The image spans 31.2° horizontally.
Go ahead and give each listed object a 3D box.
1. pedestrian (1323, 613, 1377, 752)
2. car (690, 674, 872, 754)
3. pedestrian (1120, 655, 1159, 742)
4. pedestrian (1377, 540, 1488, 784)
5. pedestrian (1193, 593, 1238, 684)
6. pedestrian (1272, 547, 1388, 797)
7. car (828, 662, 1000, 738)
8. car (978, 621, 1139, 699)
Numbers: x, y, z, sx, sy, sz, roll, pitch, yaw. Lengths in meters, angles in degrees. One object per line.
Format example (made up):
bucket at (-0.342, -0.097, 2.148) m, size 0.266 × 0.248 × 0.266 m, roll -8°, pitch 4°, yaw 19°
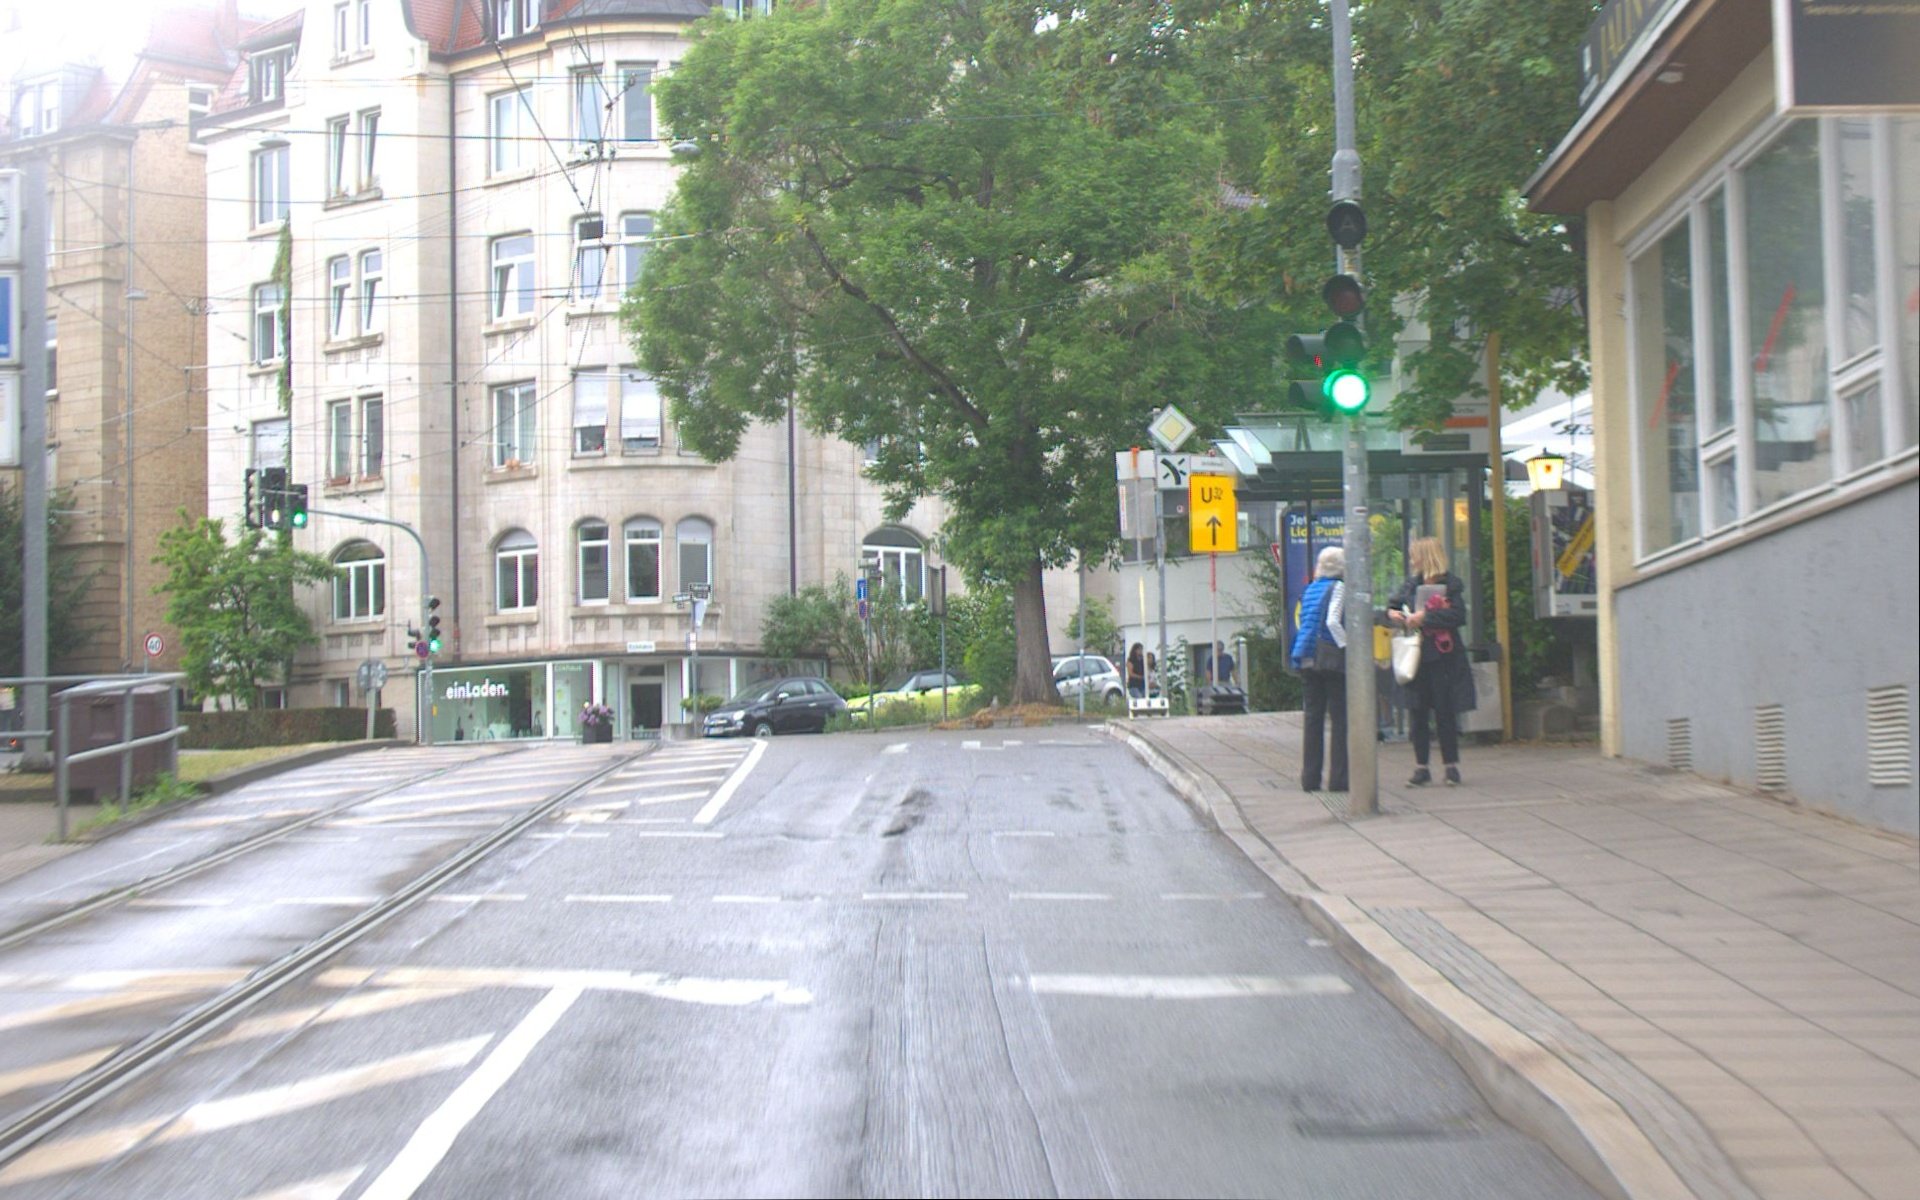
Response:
pedestrian at (3.292, 0.694, 29.029) m, size 0.325 × 1.146 × 0.318 m, roll -4°, pitch 1°, yaw -3°
car at (-3.935, 2.502, 75.941) m, size 3.660 × 1.503 × 1.737 m, roll -3°, pitch 0°, yaw -41°
pedestrian at (3.266, 1.793, 62.590) m, size 0.599 × 1.560 × 0.546 m, roll 0°, pitch 1°, yaw -10°
pedestrian at (3.096, 0.398, 22.550) m, size 0.545 × 1.548 × 0.559 m, roll -3°, pitch 1°, yaw -2°
pedestrian at (4.579, 0.684, 61.638) m, size 0.544 × 1.624 × 0.601 m, roll 0°, pitch 1°, yaw -33°
pedestrian at (2.371, 0.451, 22.077) m, size 0.588 × 1.548 × 0.650 m, roll -3°, pitch 1°, yaw 0°
car at (-1.042, 2.306, 79.320) m, size 3.660 × 1.503 × 1.737 m, roll -3°, pitch 0°, yaw -42°
car at (2.375, 1.427, 82.494) m, size 1.622 × 1.503 × 3.764 m, roll -7°, pitch -1°, yaw 44°
